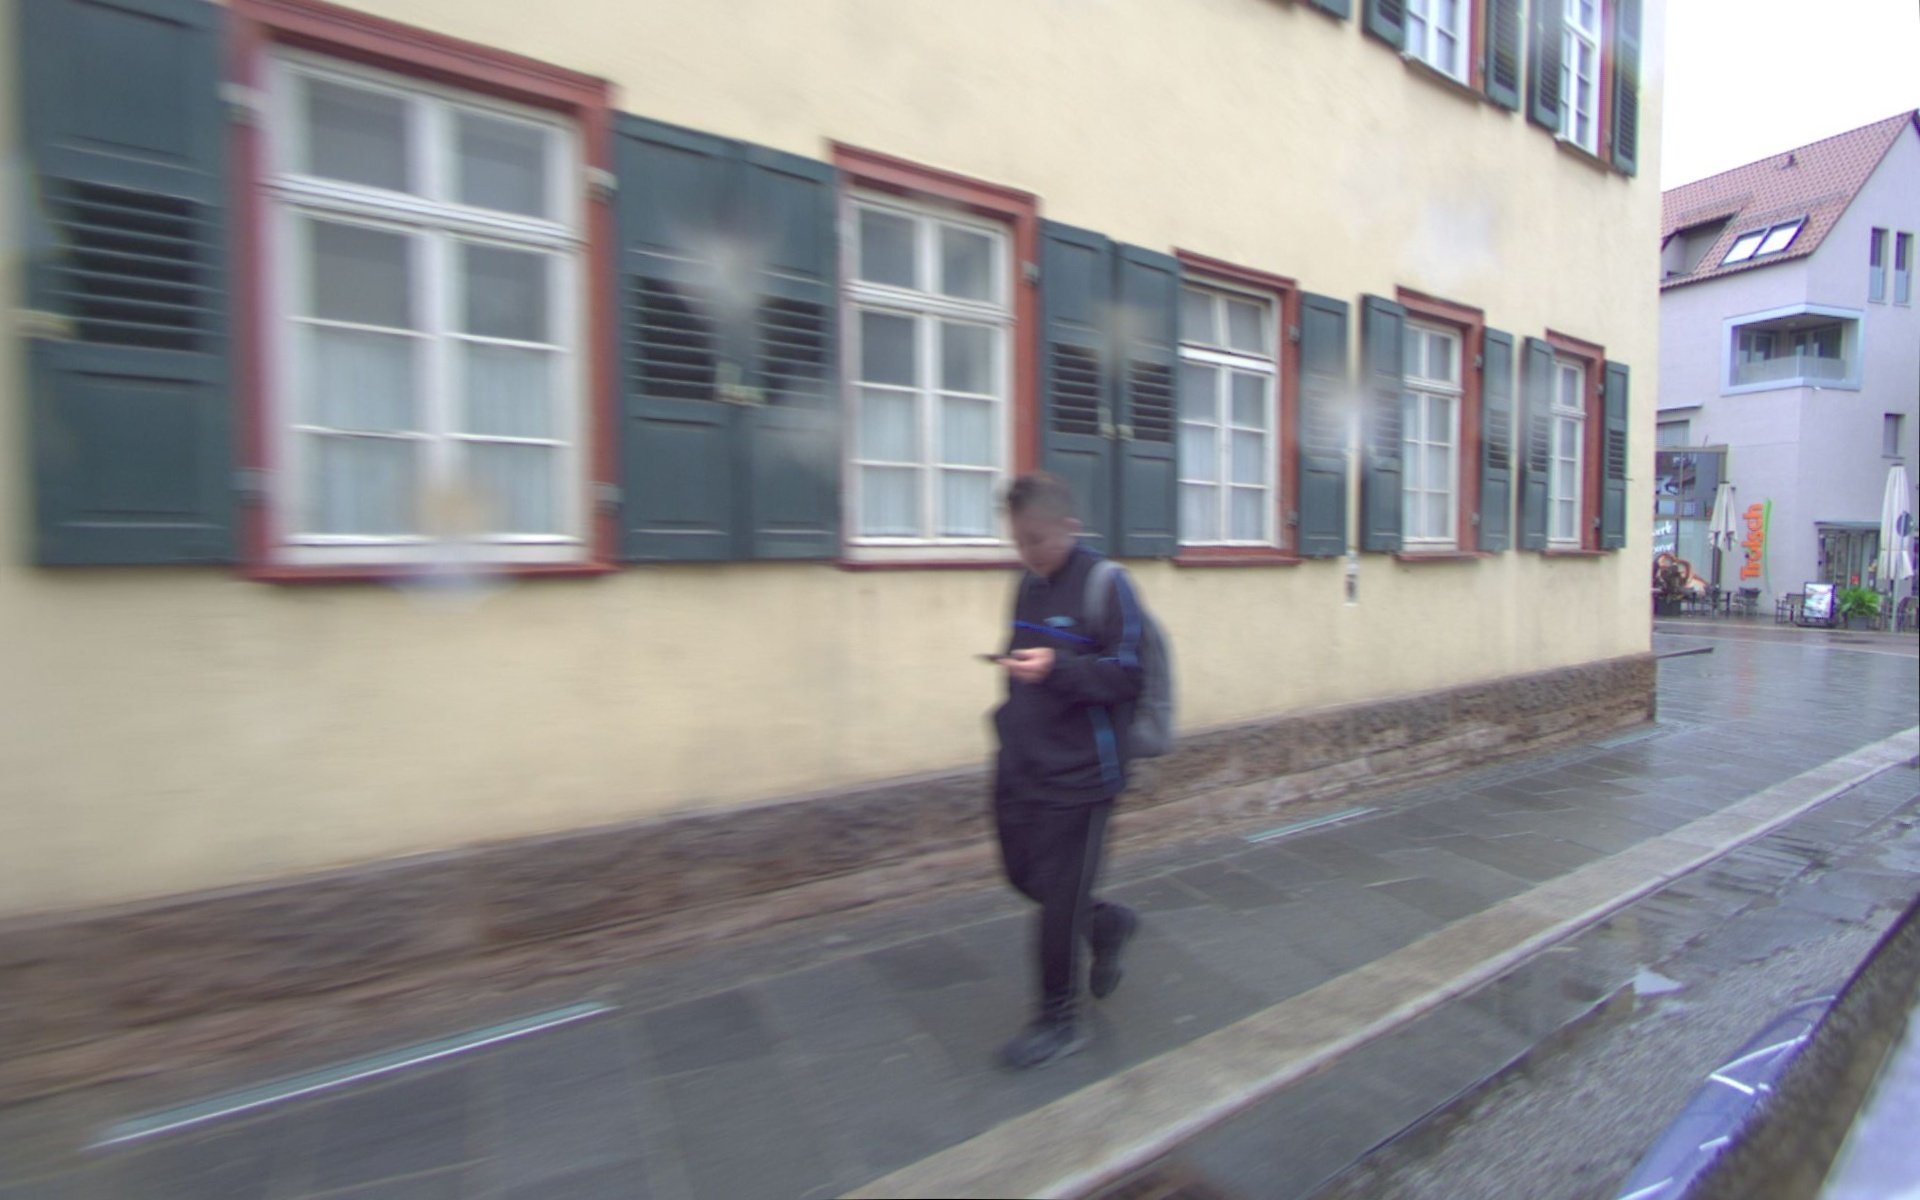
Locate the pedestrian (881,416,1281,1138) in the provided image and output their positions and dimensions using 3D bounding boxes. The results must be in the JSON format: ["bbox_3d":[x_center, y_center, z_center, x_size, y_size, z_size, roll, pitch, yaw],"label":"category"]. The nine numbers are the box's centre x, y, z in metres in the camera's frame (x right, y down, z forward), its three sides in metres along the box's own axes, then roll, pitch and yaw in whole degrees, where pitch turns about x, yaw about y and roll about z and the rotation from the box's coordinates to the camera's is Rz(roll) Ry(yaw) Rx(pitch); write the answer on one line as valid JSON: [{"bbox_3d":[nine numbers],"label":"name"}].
[{"bbox_3d":[0.341,0.407,2.934,0.852,1.714,0.716,0,2,-37],"label":"pedestrian"}]
